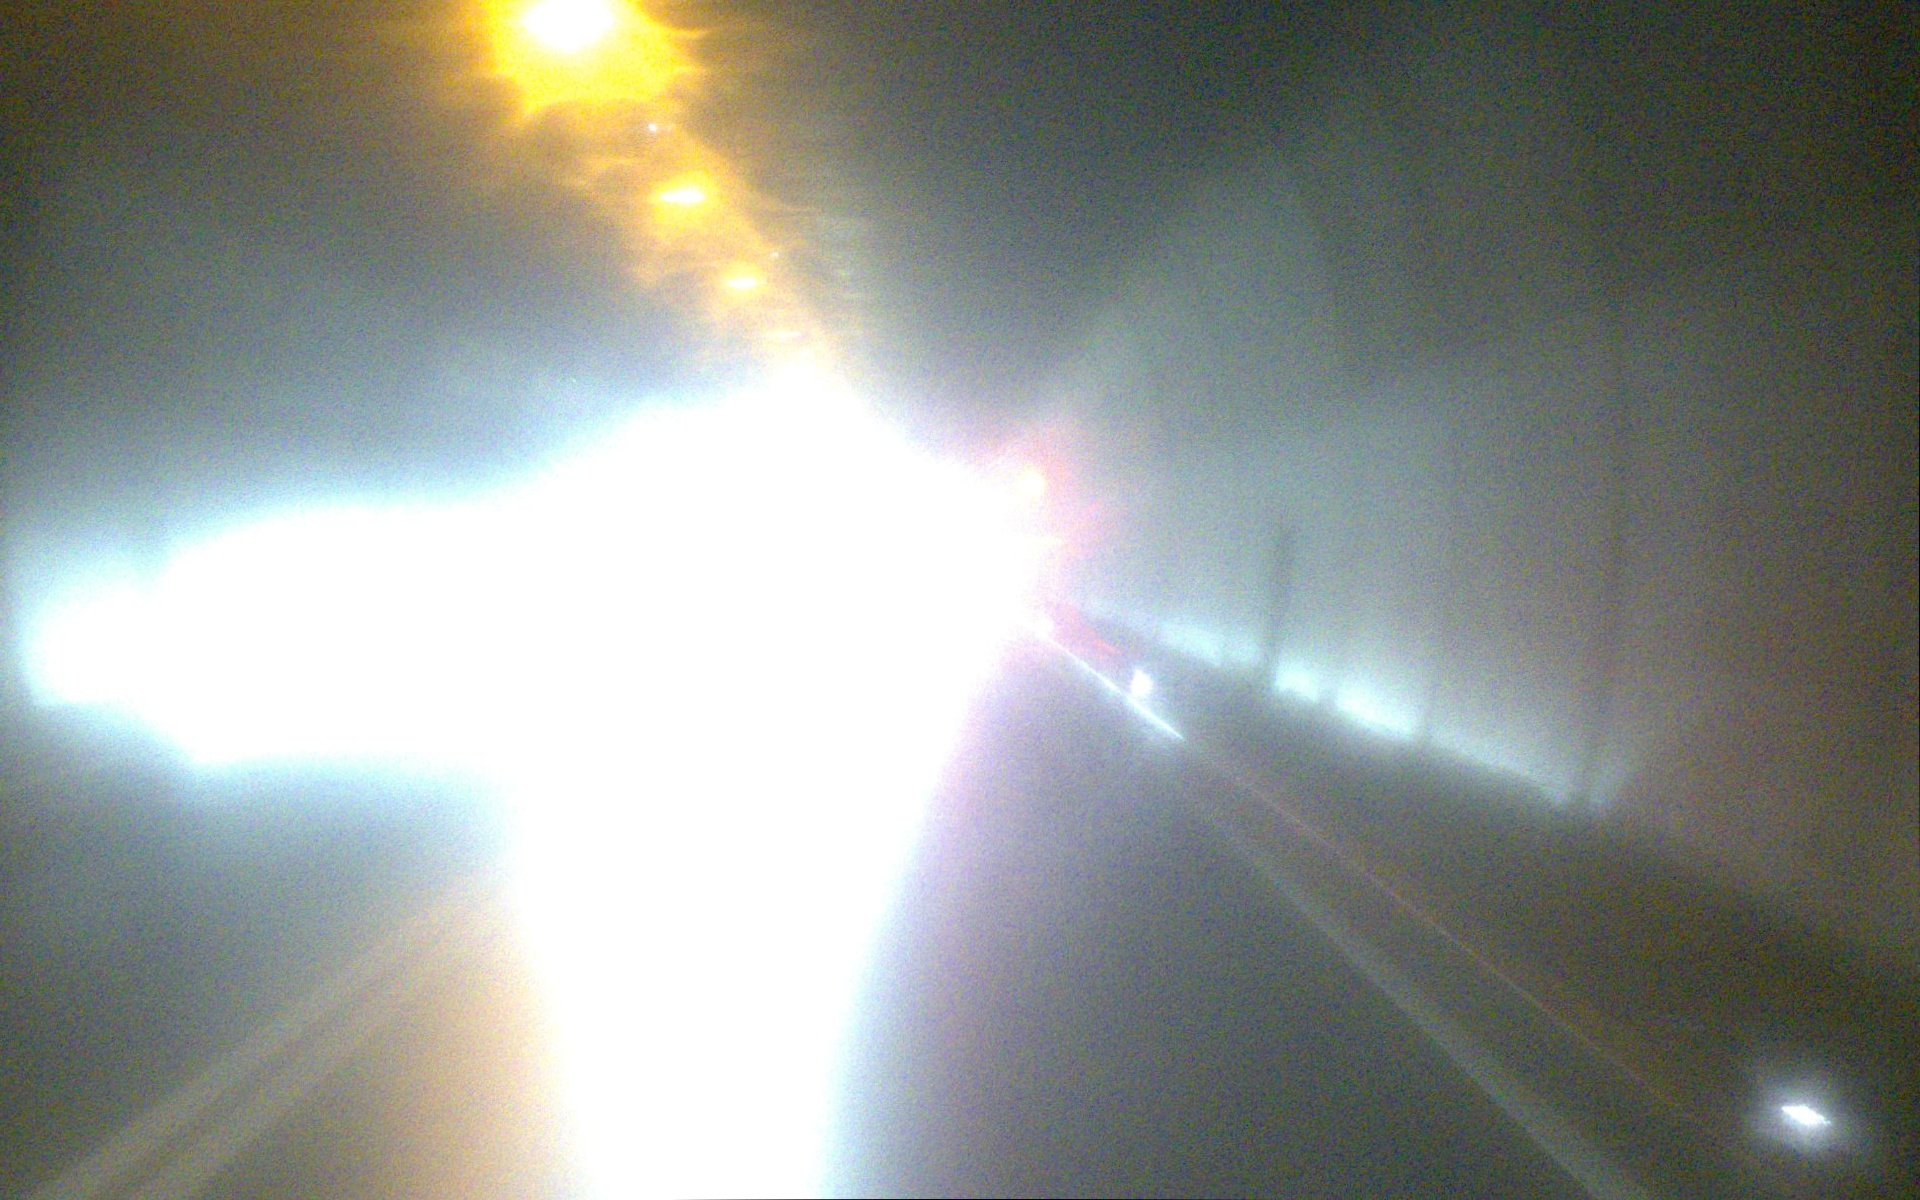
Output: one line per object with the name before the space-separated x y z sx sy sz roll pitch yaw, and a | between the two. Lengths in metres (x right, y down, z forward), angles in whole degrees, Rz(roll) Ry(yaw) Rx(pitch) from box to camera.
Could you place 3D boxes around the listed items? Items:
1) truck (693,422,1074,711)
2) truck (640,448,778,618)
truck | -0.738 -0.366 36.420 3.535 2.684 8.956 0 1 0
truck | -4.657 -1.244 64.732 2.279 3.006 6.594 1 1 -2
